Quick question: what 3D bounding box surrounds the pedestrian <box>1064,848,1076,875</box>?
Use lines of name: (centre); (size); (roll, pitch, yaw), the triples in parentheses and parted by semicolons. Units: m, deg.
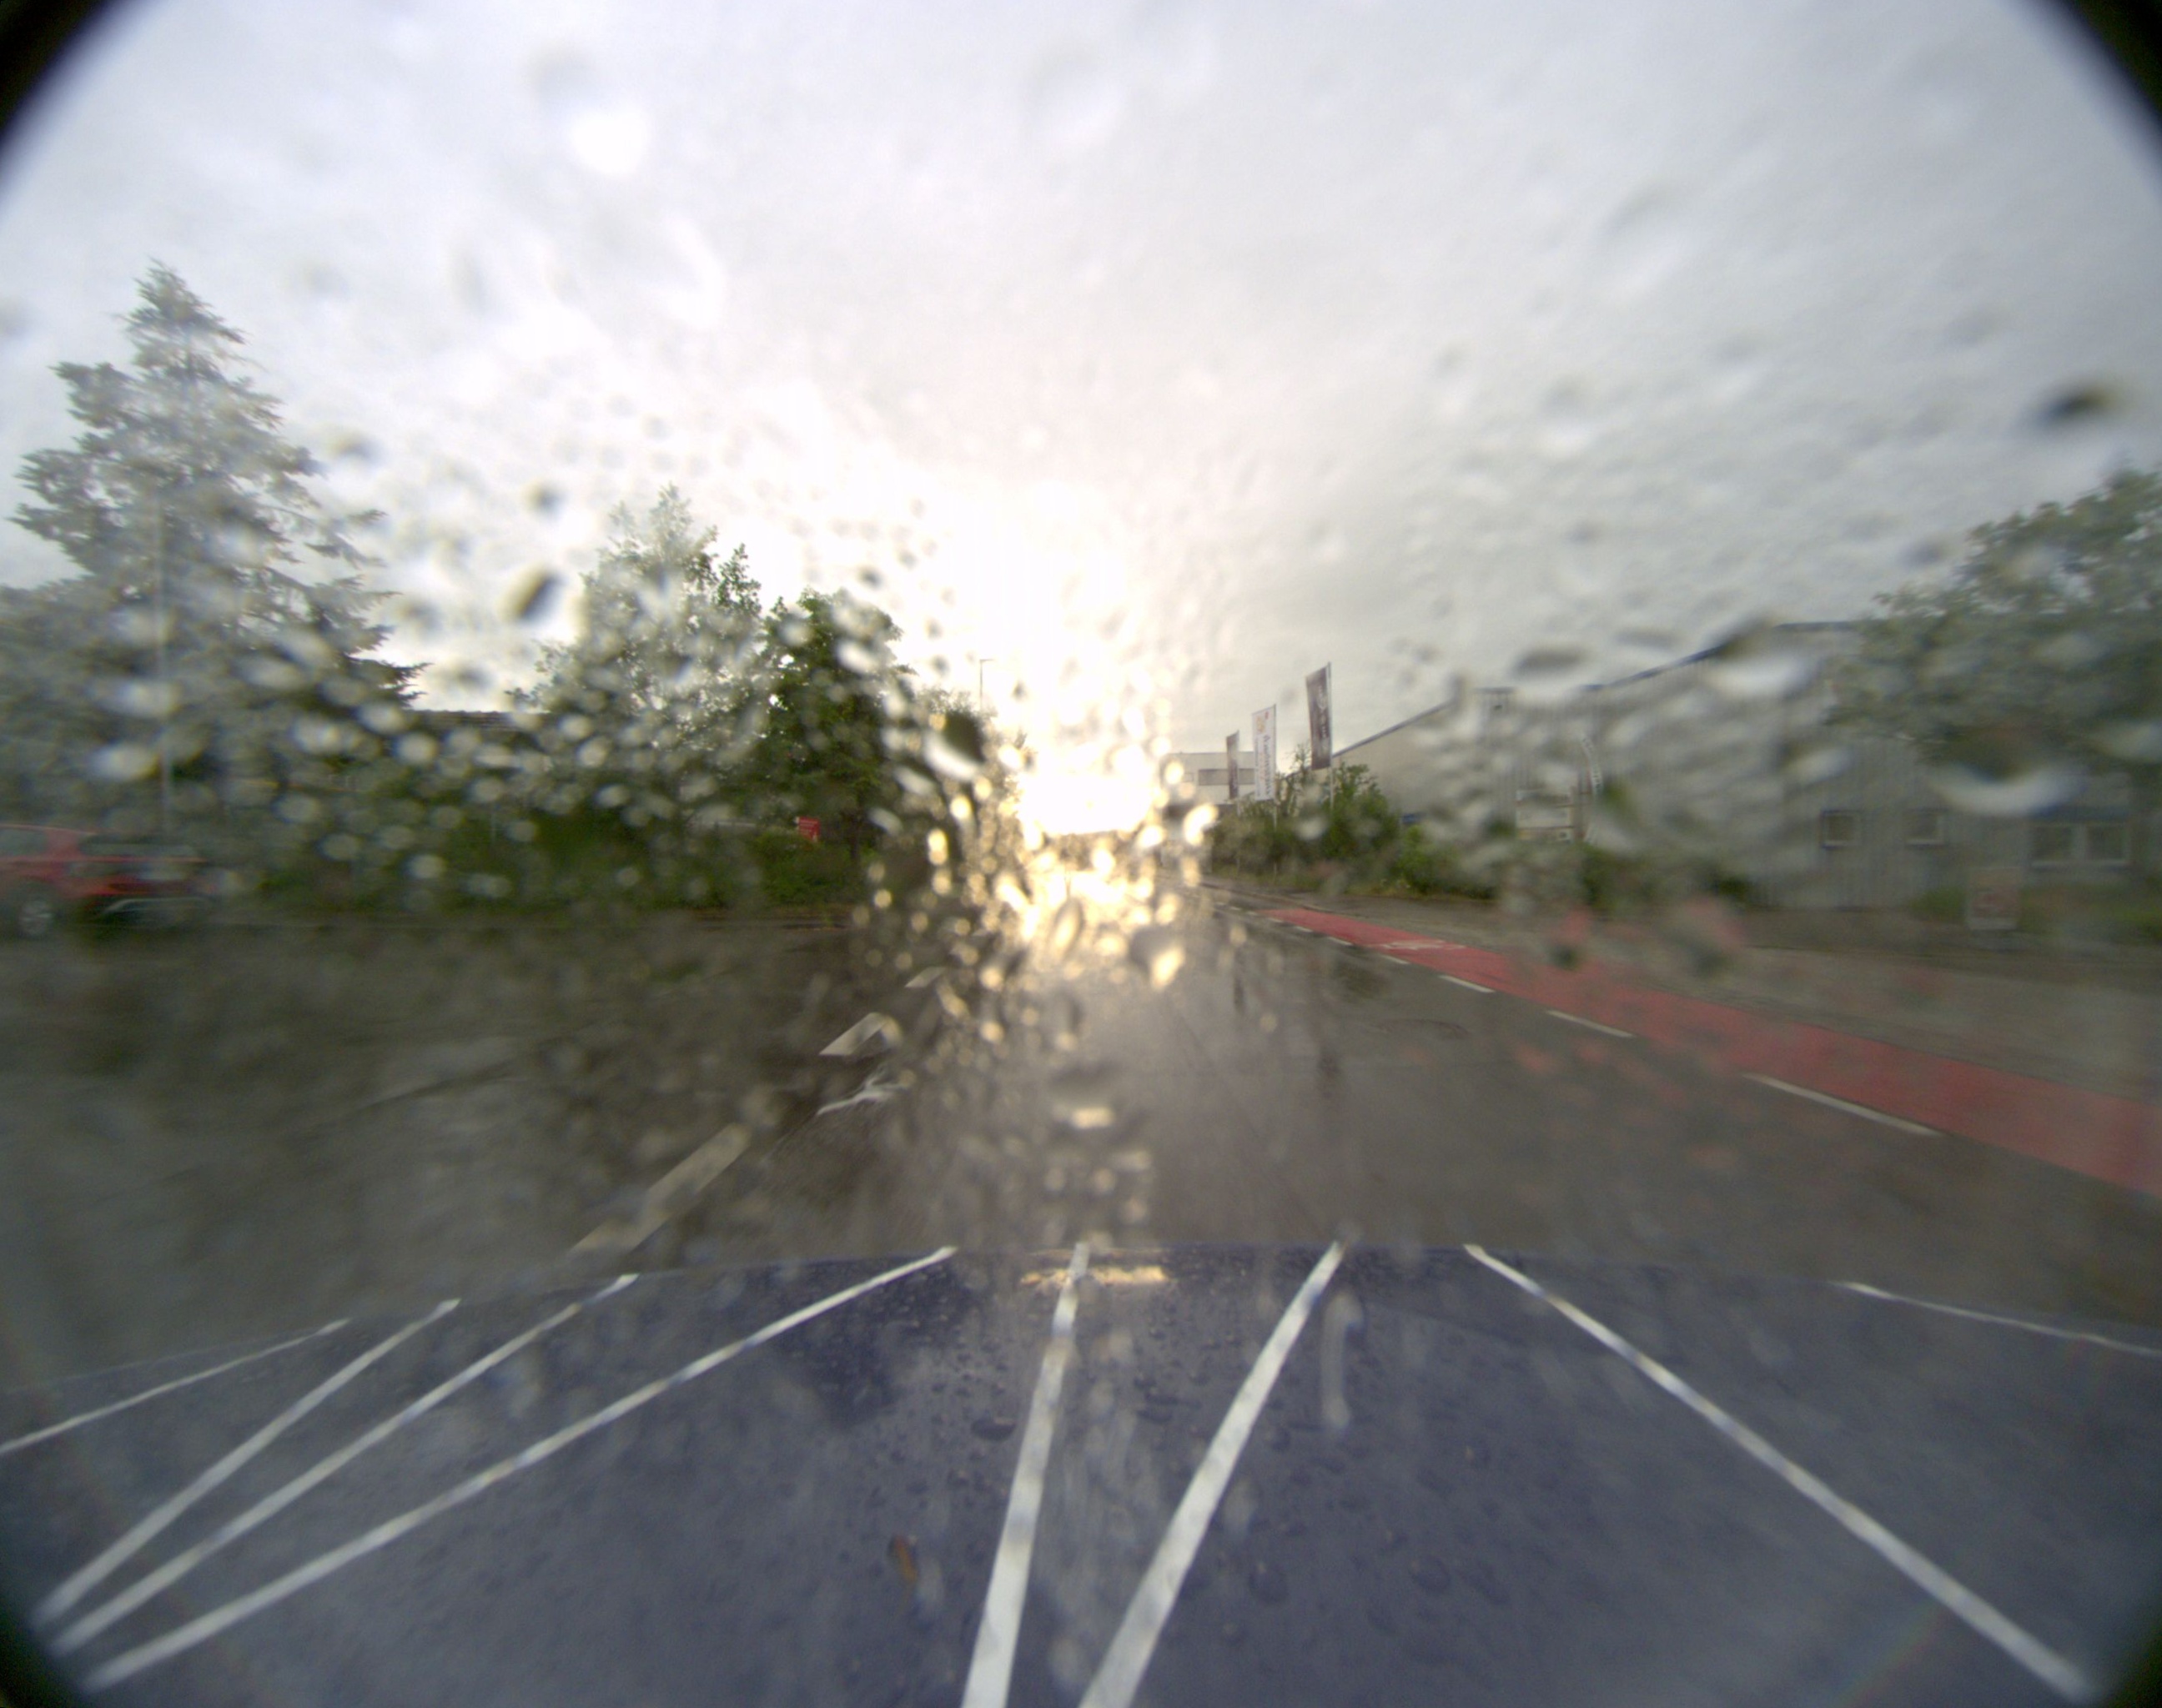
pedestrian: (-0.744, 0.533, 51.583); (0.747, 1.827, 0.889); (0, 0, -6)

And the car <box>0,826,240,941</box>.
car: (-14.949, 0.408, 10.854); (3.890, 1.490, 1.768); (-1, 0, 1)
